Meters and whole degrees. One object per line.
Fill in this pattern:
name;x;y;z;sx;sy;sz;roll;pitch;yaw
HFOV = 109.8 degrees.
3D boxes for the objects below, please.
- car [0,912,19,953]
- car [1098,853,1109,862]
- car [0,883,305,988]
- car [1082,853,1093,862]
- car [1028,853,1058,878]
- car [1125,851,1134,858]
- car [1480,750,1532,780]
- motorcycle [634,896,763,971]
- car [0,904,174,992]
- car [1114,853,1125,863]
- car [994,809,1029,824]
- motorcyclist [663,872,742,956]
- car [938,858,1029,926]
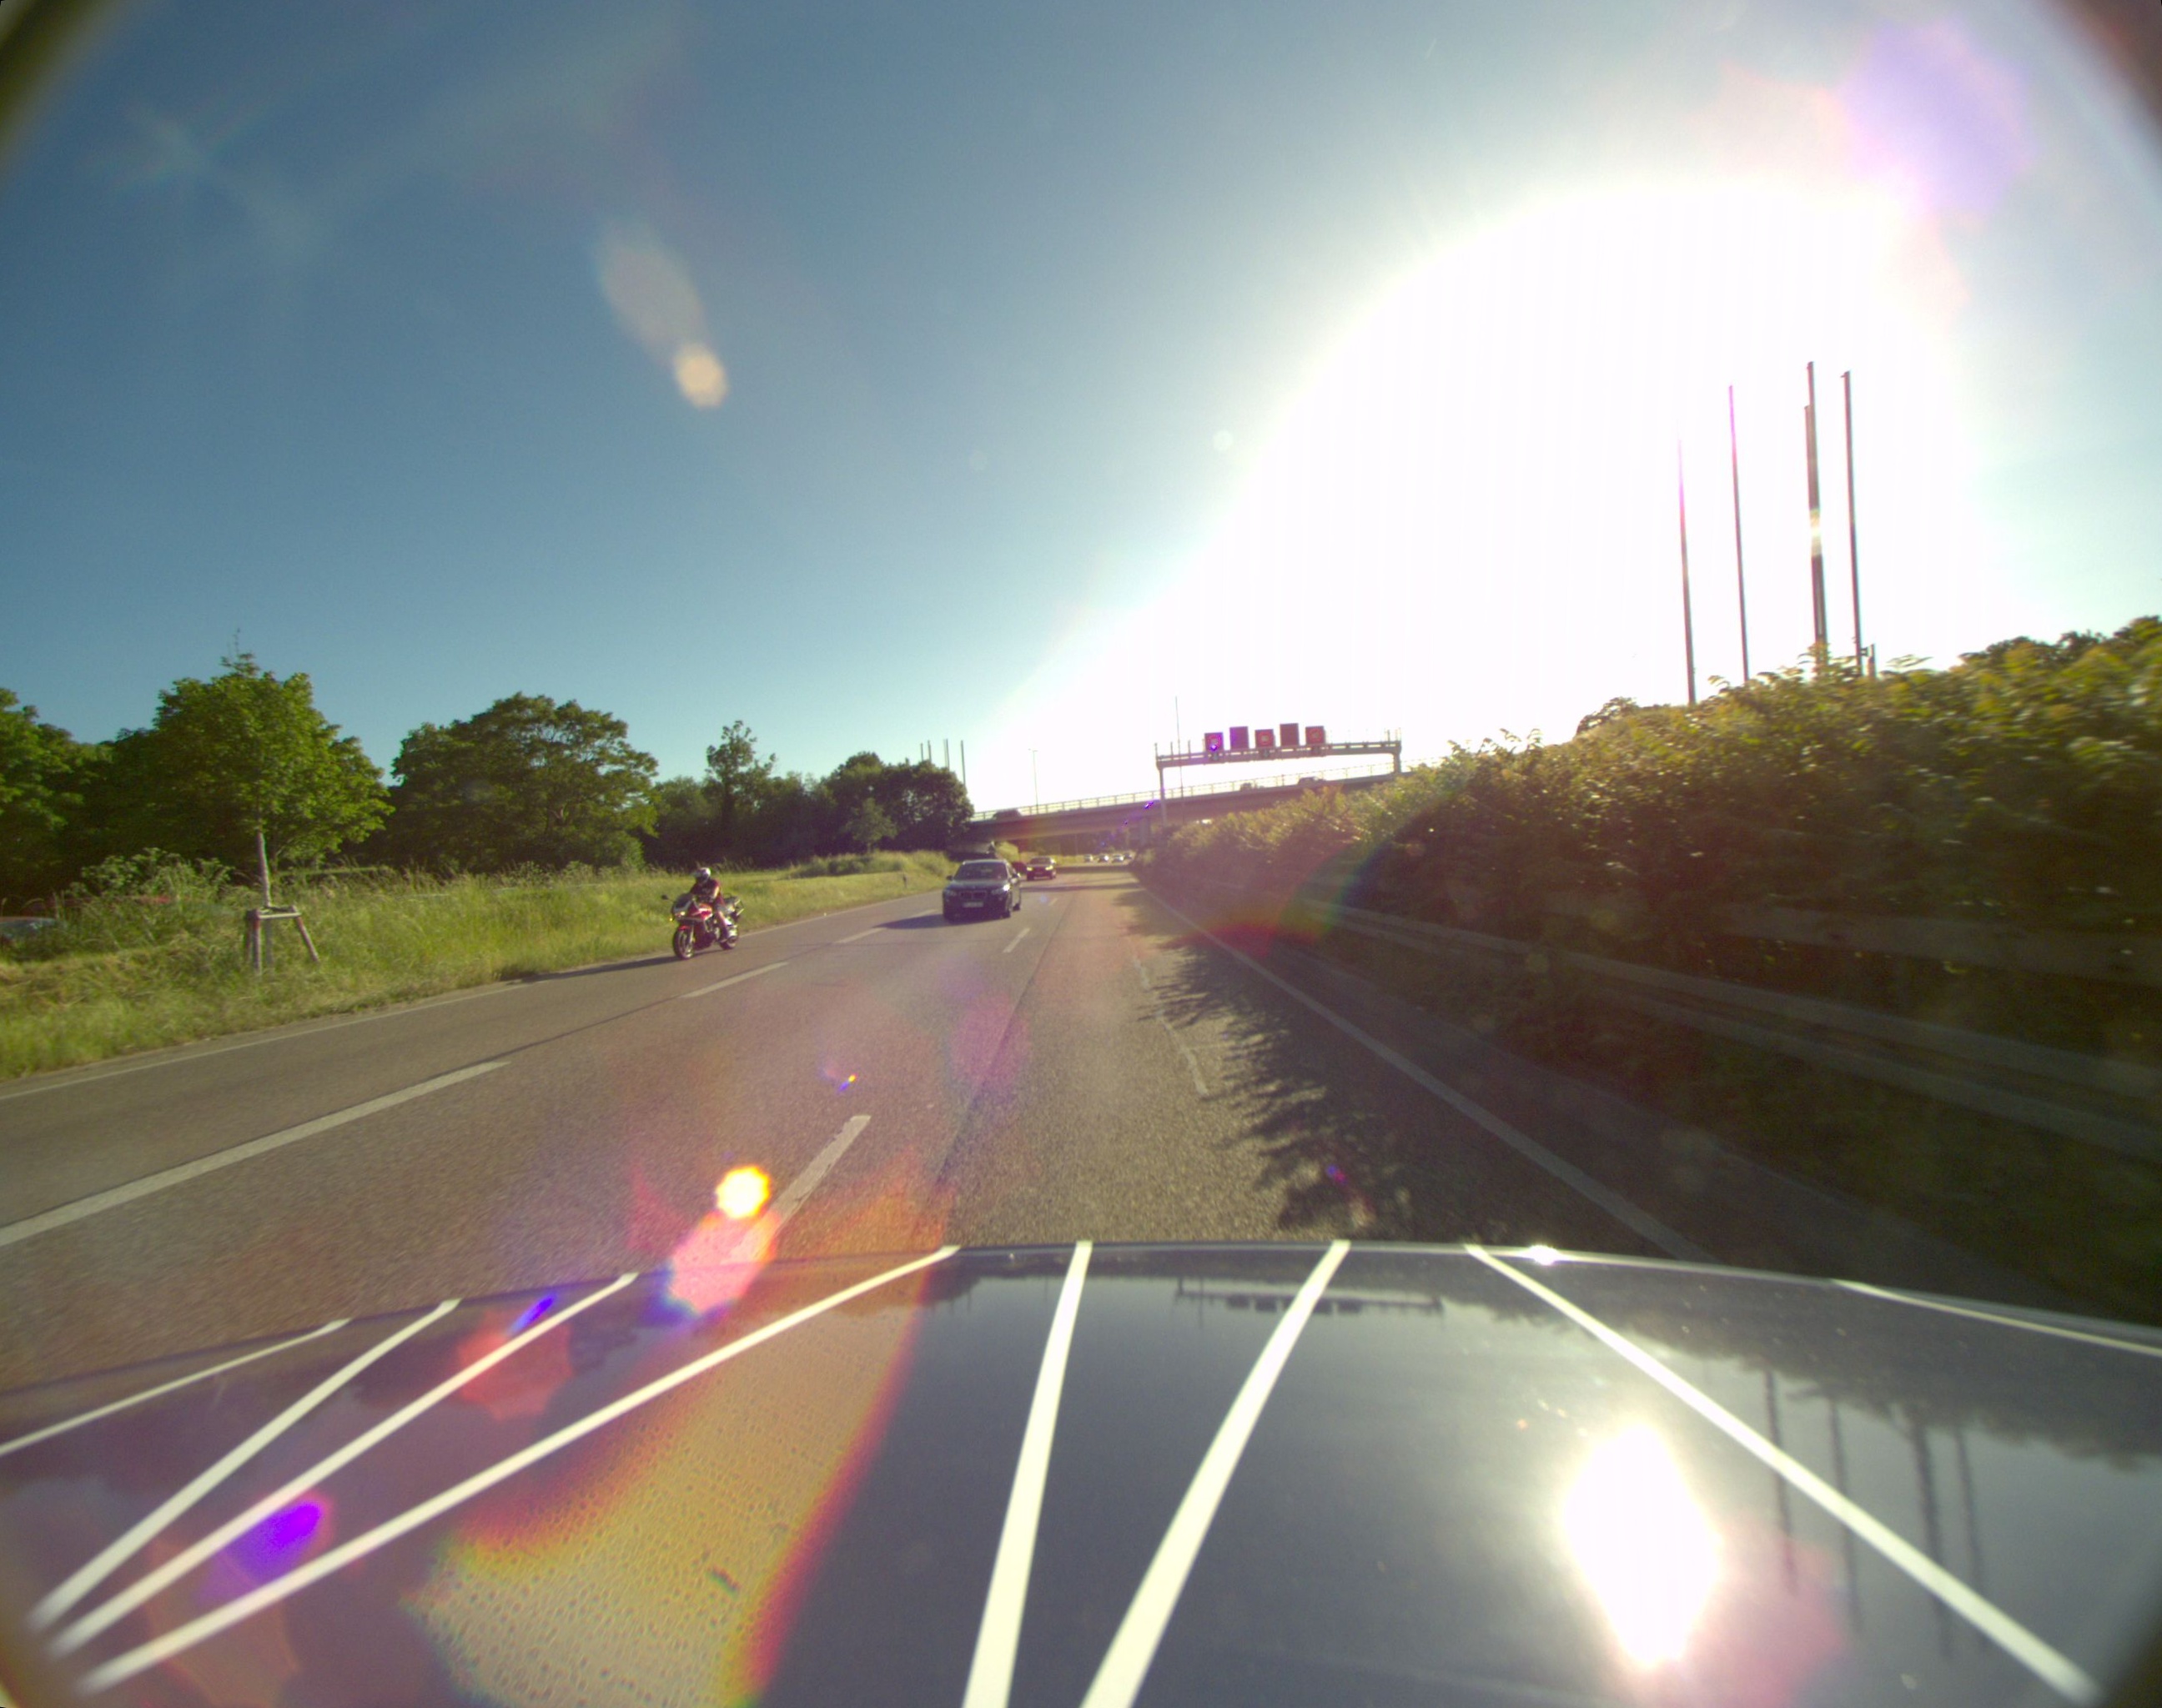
car;-40.393;2.957;26.364;4.121;1.416;1.865;-3;3;-2
car;4.046;0.576;138.017;1.682;1.412;3.670;-3;0;5
car;-22.913;1.963;18.913;4.802;2.012;2.025;-3;4;-2
car;1.259;0.623;145.669;1.867;1.681;4.001;-2;0;3
car;-2.643;0.795;53.456;1.759;1.564;4.520;-2;1;1
car;9.878;0.100;155.056;1.682;1.412;3.670;-3;0;5
car;41.499;-8.673;74.209;4.353;2.398;2.003;-3;1;30
motorcycle;-7.045;1.424;14.247;0.818;1.063;2.836;-3;1;3
car;-22.519;2.077;16.117;4.017;1.492;1.960;-5;1;0
car;6.303;0.616;124.952;1.725;1.412;3.670;-3;0;3
car;-10.445;-5.616;114.434;4.713;1.872;2.215;-3;1;30
motorcyclist;-7.048;1.091;14.189;0.818;1.439;1.094;-3;1;3
car;-2.606;0.967;21.406;1.703;1.497;4.578;-3;1;2
